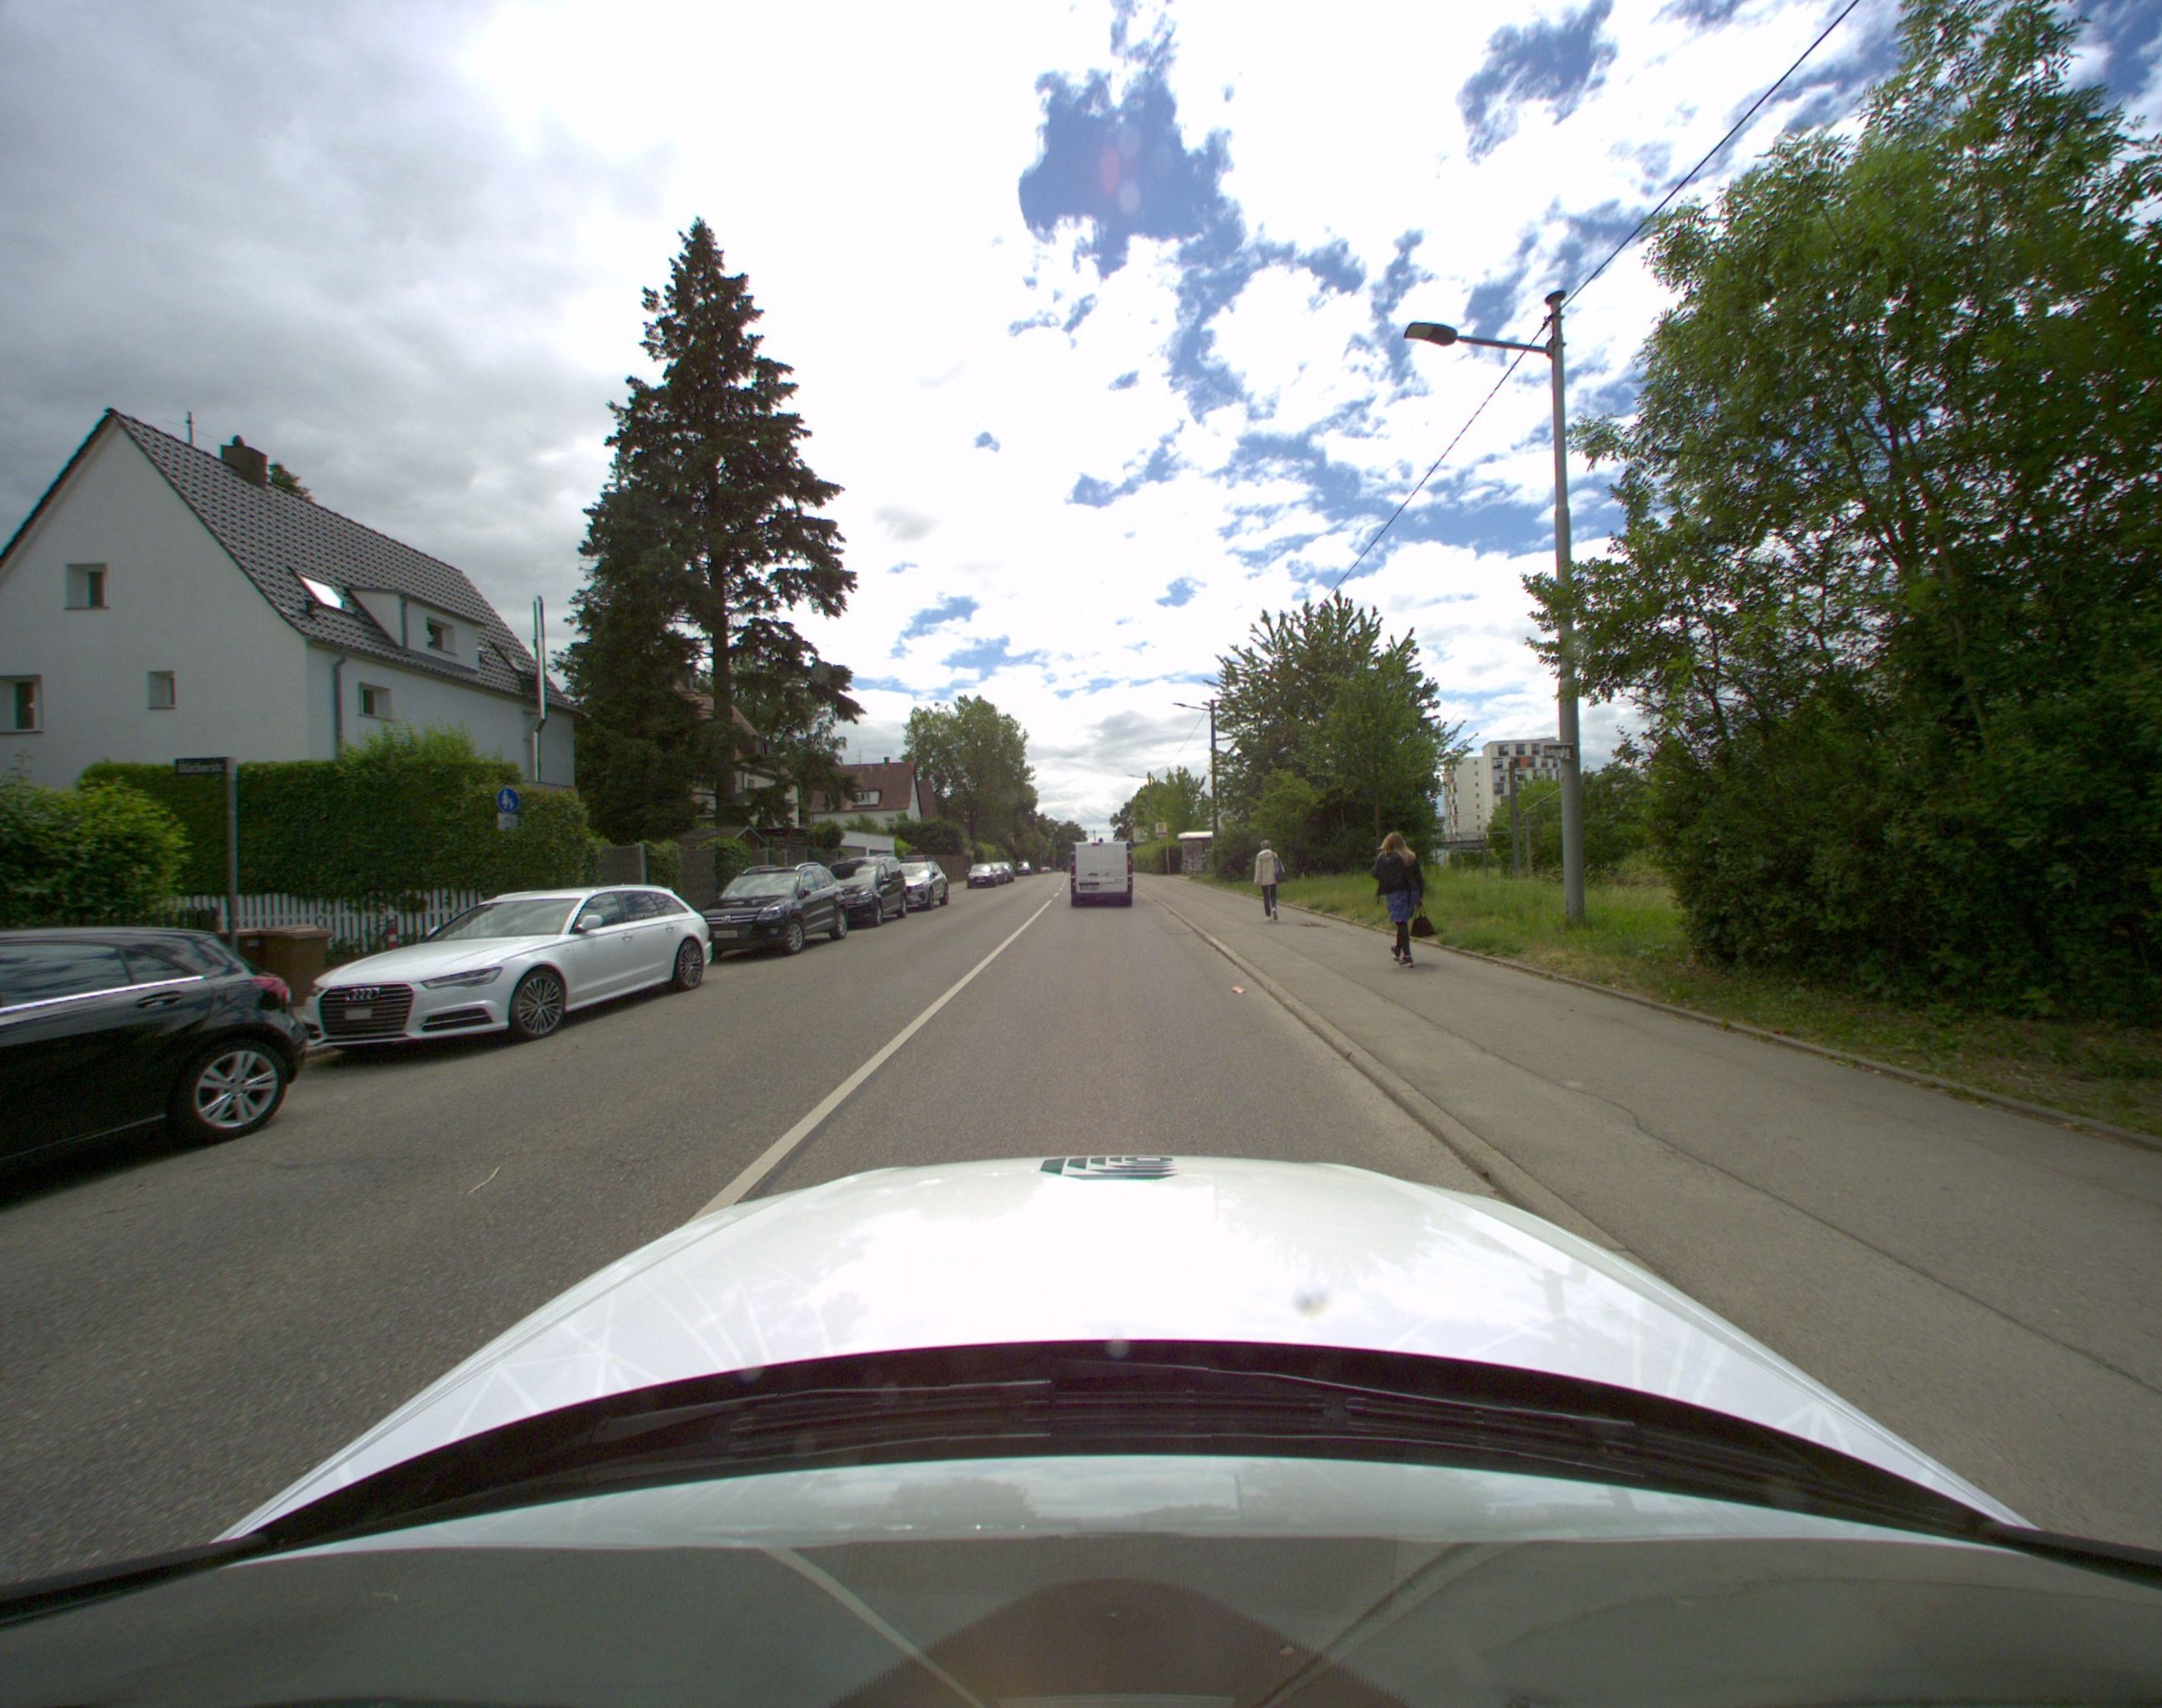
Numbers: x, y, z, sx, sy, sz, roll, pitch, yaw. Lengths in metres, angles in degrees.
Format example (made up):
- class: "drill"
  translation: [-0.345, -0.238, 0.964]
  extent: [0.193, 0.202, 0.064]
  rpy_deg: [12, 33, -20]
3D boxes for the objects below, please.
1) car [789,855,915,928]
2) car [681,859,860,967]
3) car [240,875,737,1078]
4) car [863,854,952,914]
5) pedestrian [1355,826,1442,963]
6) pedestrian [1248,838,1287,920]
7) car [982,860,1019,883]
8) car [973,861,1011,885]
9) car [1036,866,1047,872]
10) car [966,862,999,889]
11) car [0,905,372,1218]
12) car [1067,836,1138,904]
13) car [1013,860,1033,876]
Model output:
- class: "car"
  translation: [-6.072, 0.923, 22.291]
  extent: [2.060, 1.754, 4.882]
  rpy_deg: [-1, 0, 0]
- class: "car"
  translation: [-5.944, 1.025, 16.260]
  extent: [1.621, 1.678, 4.584]
  rpy_deg: [-4, 0, 1]
- class: "car"
  translation: [-6.132, 1.117, 9.478]
  extent: [1.798, 1.459, 5.072]
  rpy_deg: [-4, 0, 3]
- class: "car"
  translation: [-5.881, 0.942, 28.221]
  extent: [1.978, 1.819, 4.708]
  rpy_deg: [-2, 0, 1]
- class: "pedestrian"
  translation: [3.999, 0.497, 10.320]
  extent: [0.835, 1.659, 0.767]
  rpy_deg: [-1, 0, 5]
- class: "pedestrian"
  translation: [3.854, 0.501, 16.862]
  extent: [0.682, 1.659, 0.691]
  rpy_deg: [-1, 0, 5]
- class: "car"
  translation: [-5.872, 1.227, 59.647]
  extent: [1.986, 1.479, 4.649]
  rpy_deg: [-4, 0, 2]
- class: "car"
  translation: [-5.853, 1.209, 54.073]
  extent: [1.860, 1.459, 4.490]
  rpy_deg: [-3, 0, 1]
- class: "car"
  translation: [-9.130, 3.441, 188.091]
  extent: [2.063, 1.386, 4.033]
  rpy_deg: [-2, 0, -10]
- class: "car"
  translation: [-5.910, 1.272, 49.204]
  extent: [1.648, 1.427, 3.900]
  rpy_deg: [-3, 0, -4]
- class: "car"
  translation: [-6.269, 1.155, 3.883]
  extent: [1.735, 1.410, 4.327]
  rpy_deg: [-4, 0, 3]
- class: "car"
  translation: [0.713, 0.482, 26.150]
  extent: [2.027, 1.945, 4.996]
  rpy_deg: [-1, 0, 2]
- class: "car"
  translation: [-7.024, 1.670, 98.444]
  extent: [2.130, 1.772, 4.452]
  rpy_deg: [-1, 0, -8]
